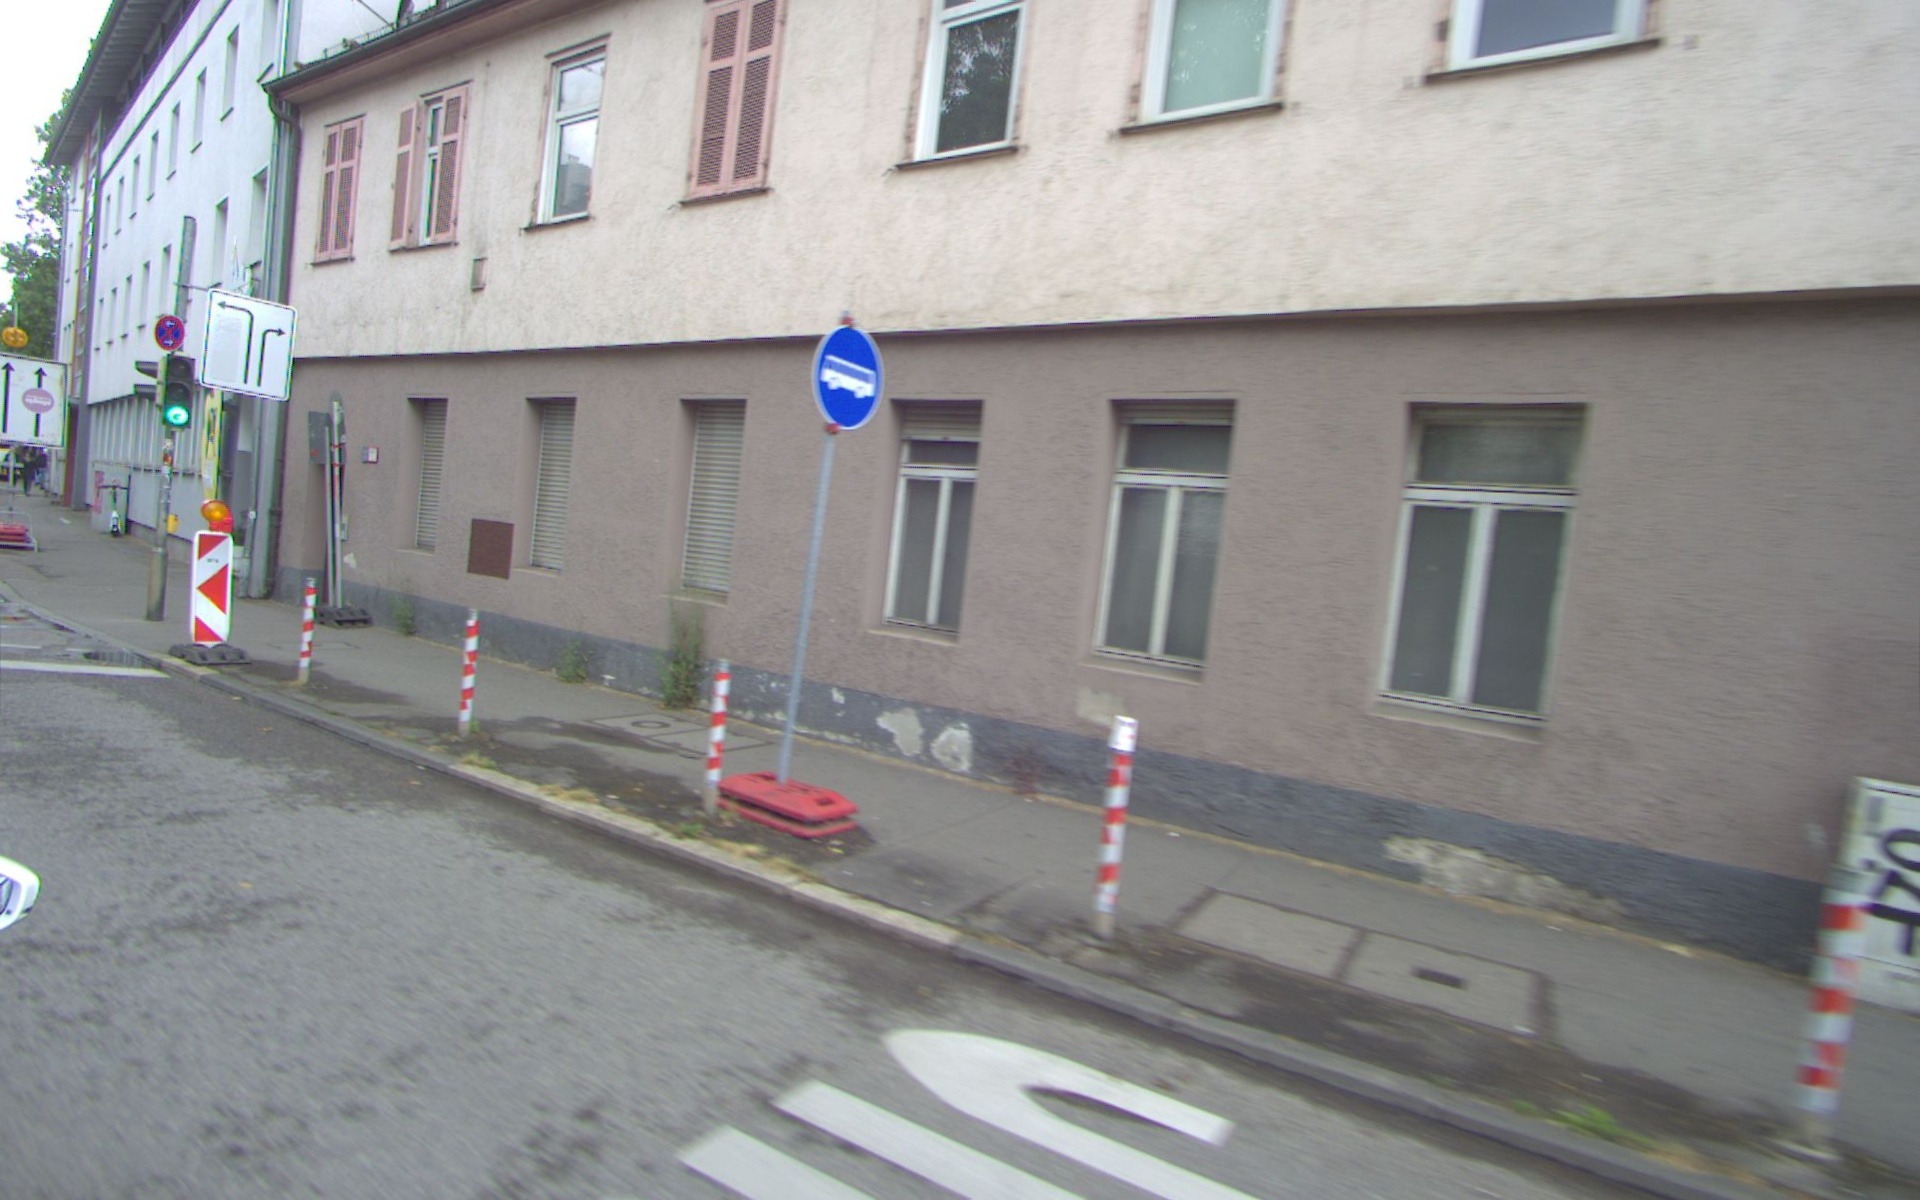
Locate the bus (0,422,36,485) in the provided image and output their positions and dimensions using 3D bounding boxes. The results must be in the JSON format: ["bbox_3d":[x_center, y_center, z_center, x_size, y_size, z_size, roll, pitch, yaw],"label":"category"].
[{"bbox_3d":[-53.778,-8.284,55.902,2.652,3.175,9.925,8,1,-39],"label":"bus"}]

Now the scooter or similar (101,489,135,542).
[{"bbox_3d":[-19.763,-1.987,23.592,1.419,1.112,0.427,10,5,43],"label":"scooter or similar"}]

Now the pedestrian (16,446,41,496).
[{"bbox_3d":[-34.513,-4.776,37.271,0.538,1.782,0.602,3,6,-33],"label":"pedestrian"}]

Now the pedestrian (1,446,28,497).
[{"bbox_3d":[-35.447,-4.813,37.714,0.866,1.782,0.684,11,7,44],"label":"pedestrian"}]
